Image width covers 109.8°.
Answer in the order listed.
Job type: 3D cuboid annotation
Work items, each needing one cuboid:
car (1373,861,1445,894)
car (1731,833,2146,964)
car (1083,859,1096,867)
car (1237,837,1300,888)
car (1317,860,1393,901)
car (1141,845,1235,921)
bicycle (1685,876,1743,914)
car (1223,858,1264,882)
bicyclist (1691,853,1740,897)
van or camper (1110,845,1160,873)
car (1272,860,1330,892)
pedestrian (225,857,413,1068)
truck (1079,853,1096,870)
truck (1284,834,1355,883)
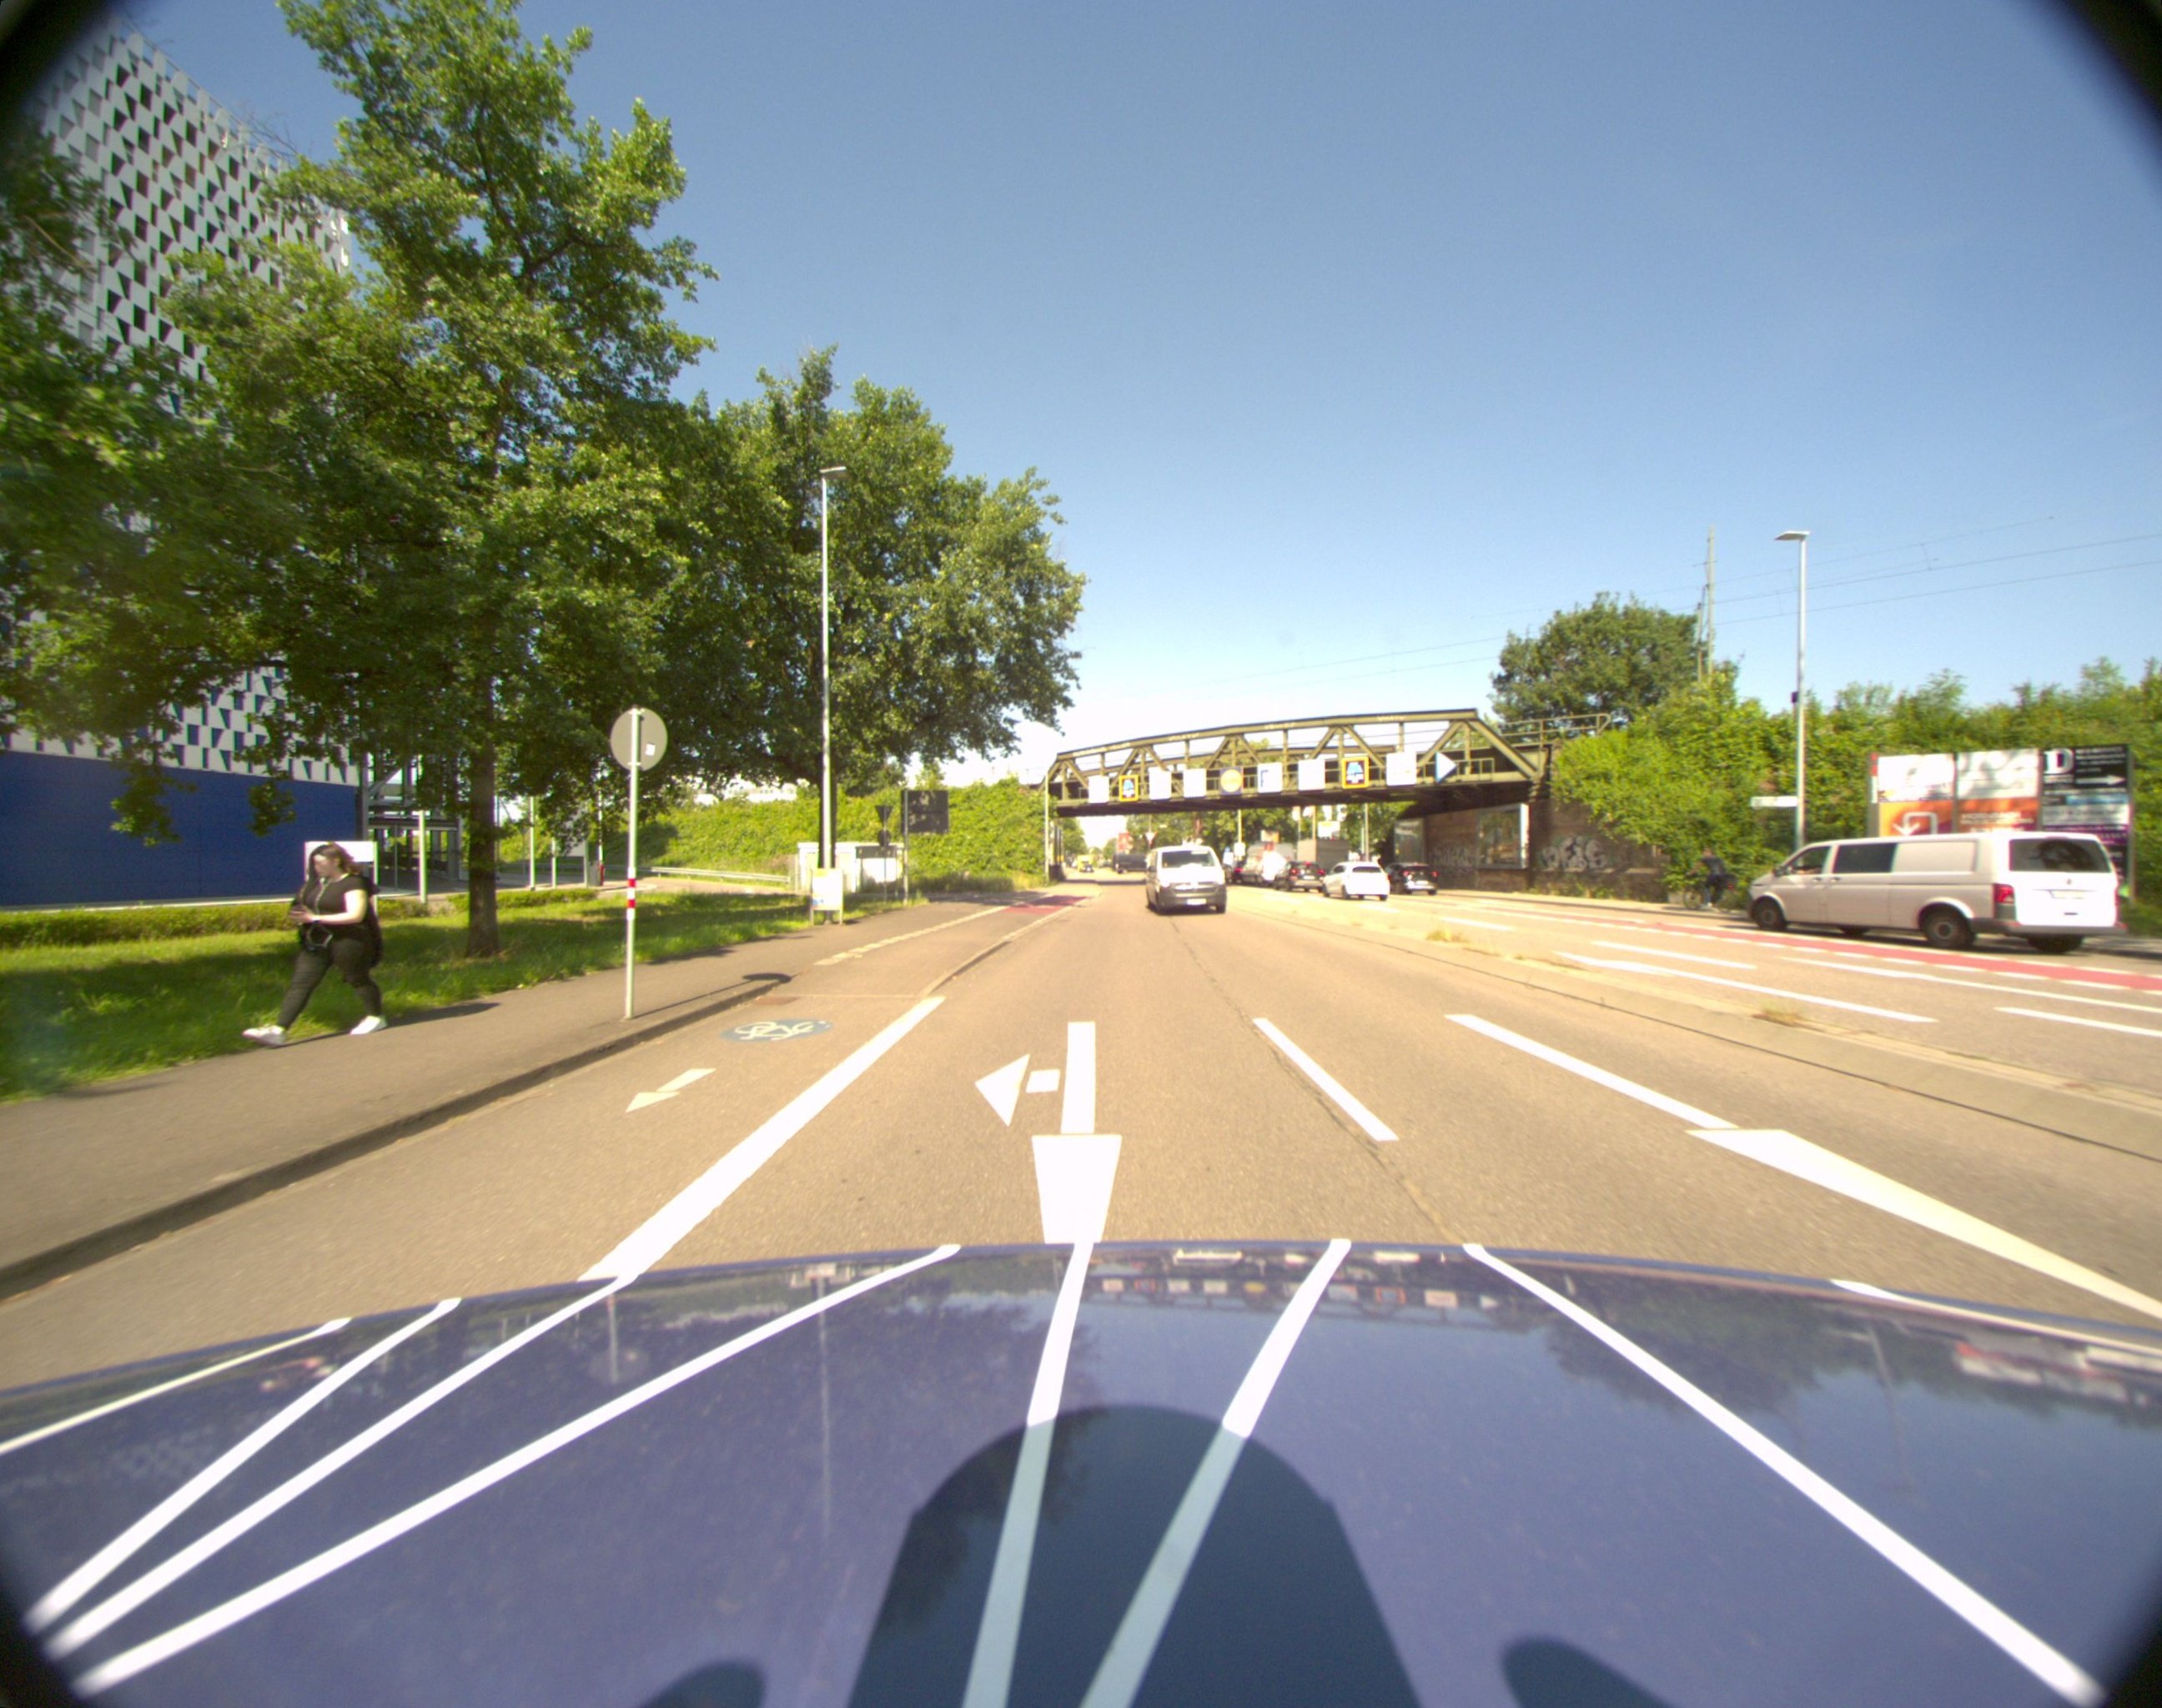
[{"bbox_3d":[15.948,1.126,37.185,1.773,1.485,4.179,1,-1,1],"label":"car"},{"bbox_3d":[15.412,0.691,14.316,1.998,2.002,5.348,0,0,4],"label":"car"},{"bbox_3d":[1.330,1.386,118.727,1.823,1.346,3.999,0,0,-3],"label":"car"},{"bbox_3d":[11.203,0.477,45.983,1.999,2.788,6.937,2,0,-1],"label":"car"},{"bbox_3d":[10.842,1.040,30.331,1.647,1.485,3.829,1,-1,0],"label":"car"},{"bbox_3d":[3.015,0.764,22.512,1.887,1.982,4.973,0,0,-3],"label":"car"},{"bbox_3d":[18.112,1.161,21.785,0.447,1.021,1.616,0,0,6],"label":"bicycle"},{"bbox_3d":[11.450,1.097,53.907,1.998,1.671,4.951,0,0,2],"label":"car"},{"bbox_3d":[18.046,0.584,21.633,0.635,1.220,0.951,0,0,6],"label":"bicyclist"},{"bbox_3d":[6.710,0.607,94.362,5.779,3.136,2.600,-3,-1,-4],"label":"van or camper"},{"bbox_3d":[11.039,1.100,38.429,1.773,1.485,4.179,1,-1,1],"label":"car"},{"bbox_3d":[-6.148,0.827,6.184,0.648,1.594,0.847,0,0,2],"label":"pedestrian"},{"bbox_3d":[1.114,1.432,134.669,2.410,2.845,5.803,-3,-1,-5],"label":"truck"},{"bbox_3d":[15.918,0.281,51.194,2.347,3.070,7.068,-1,0,-2],"label":"truck"}]
